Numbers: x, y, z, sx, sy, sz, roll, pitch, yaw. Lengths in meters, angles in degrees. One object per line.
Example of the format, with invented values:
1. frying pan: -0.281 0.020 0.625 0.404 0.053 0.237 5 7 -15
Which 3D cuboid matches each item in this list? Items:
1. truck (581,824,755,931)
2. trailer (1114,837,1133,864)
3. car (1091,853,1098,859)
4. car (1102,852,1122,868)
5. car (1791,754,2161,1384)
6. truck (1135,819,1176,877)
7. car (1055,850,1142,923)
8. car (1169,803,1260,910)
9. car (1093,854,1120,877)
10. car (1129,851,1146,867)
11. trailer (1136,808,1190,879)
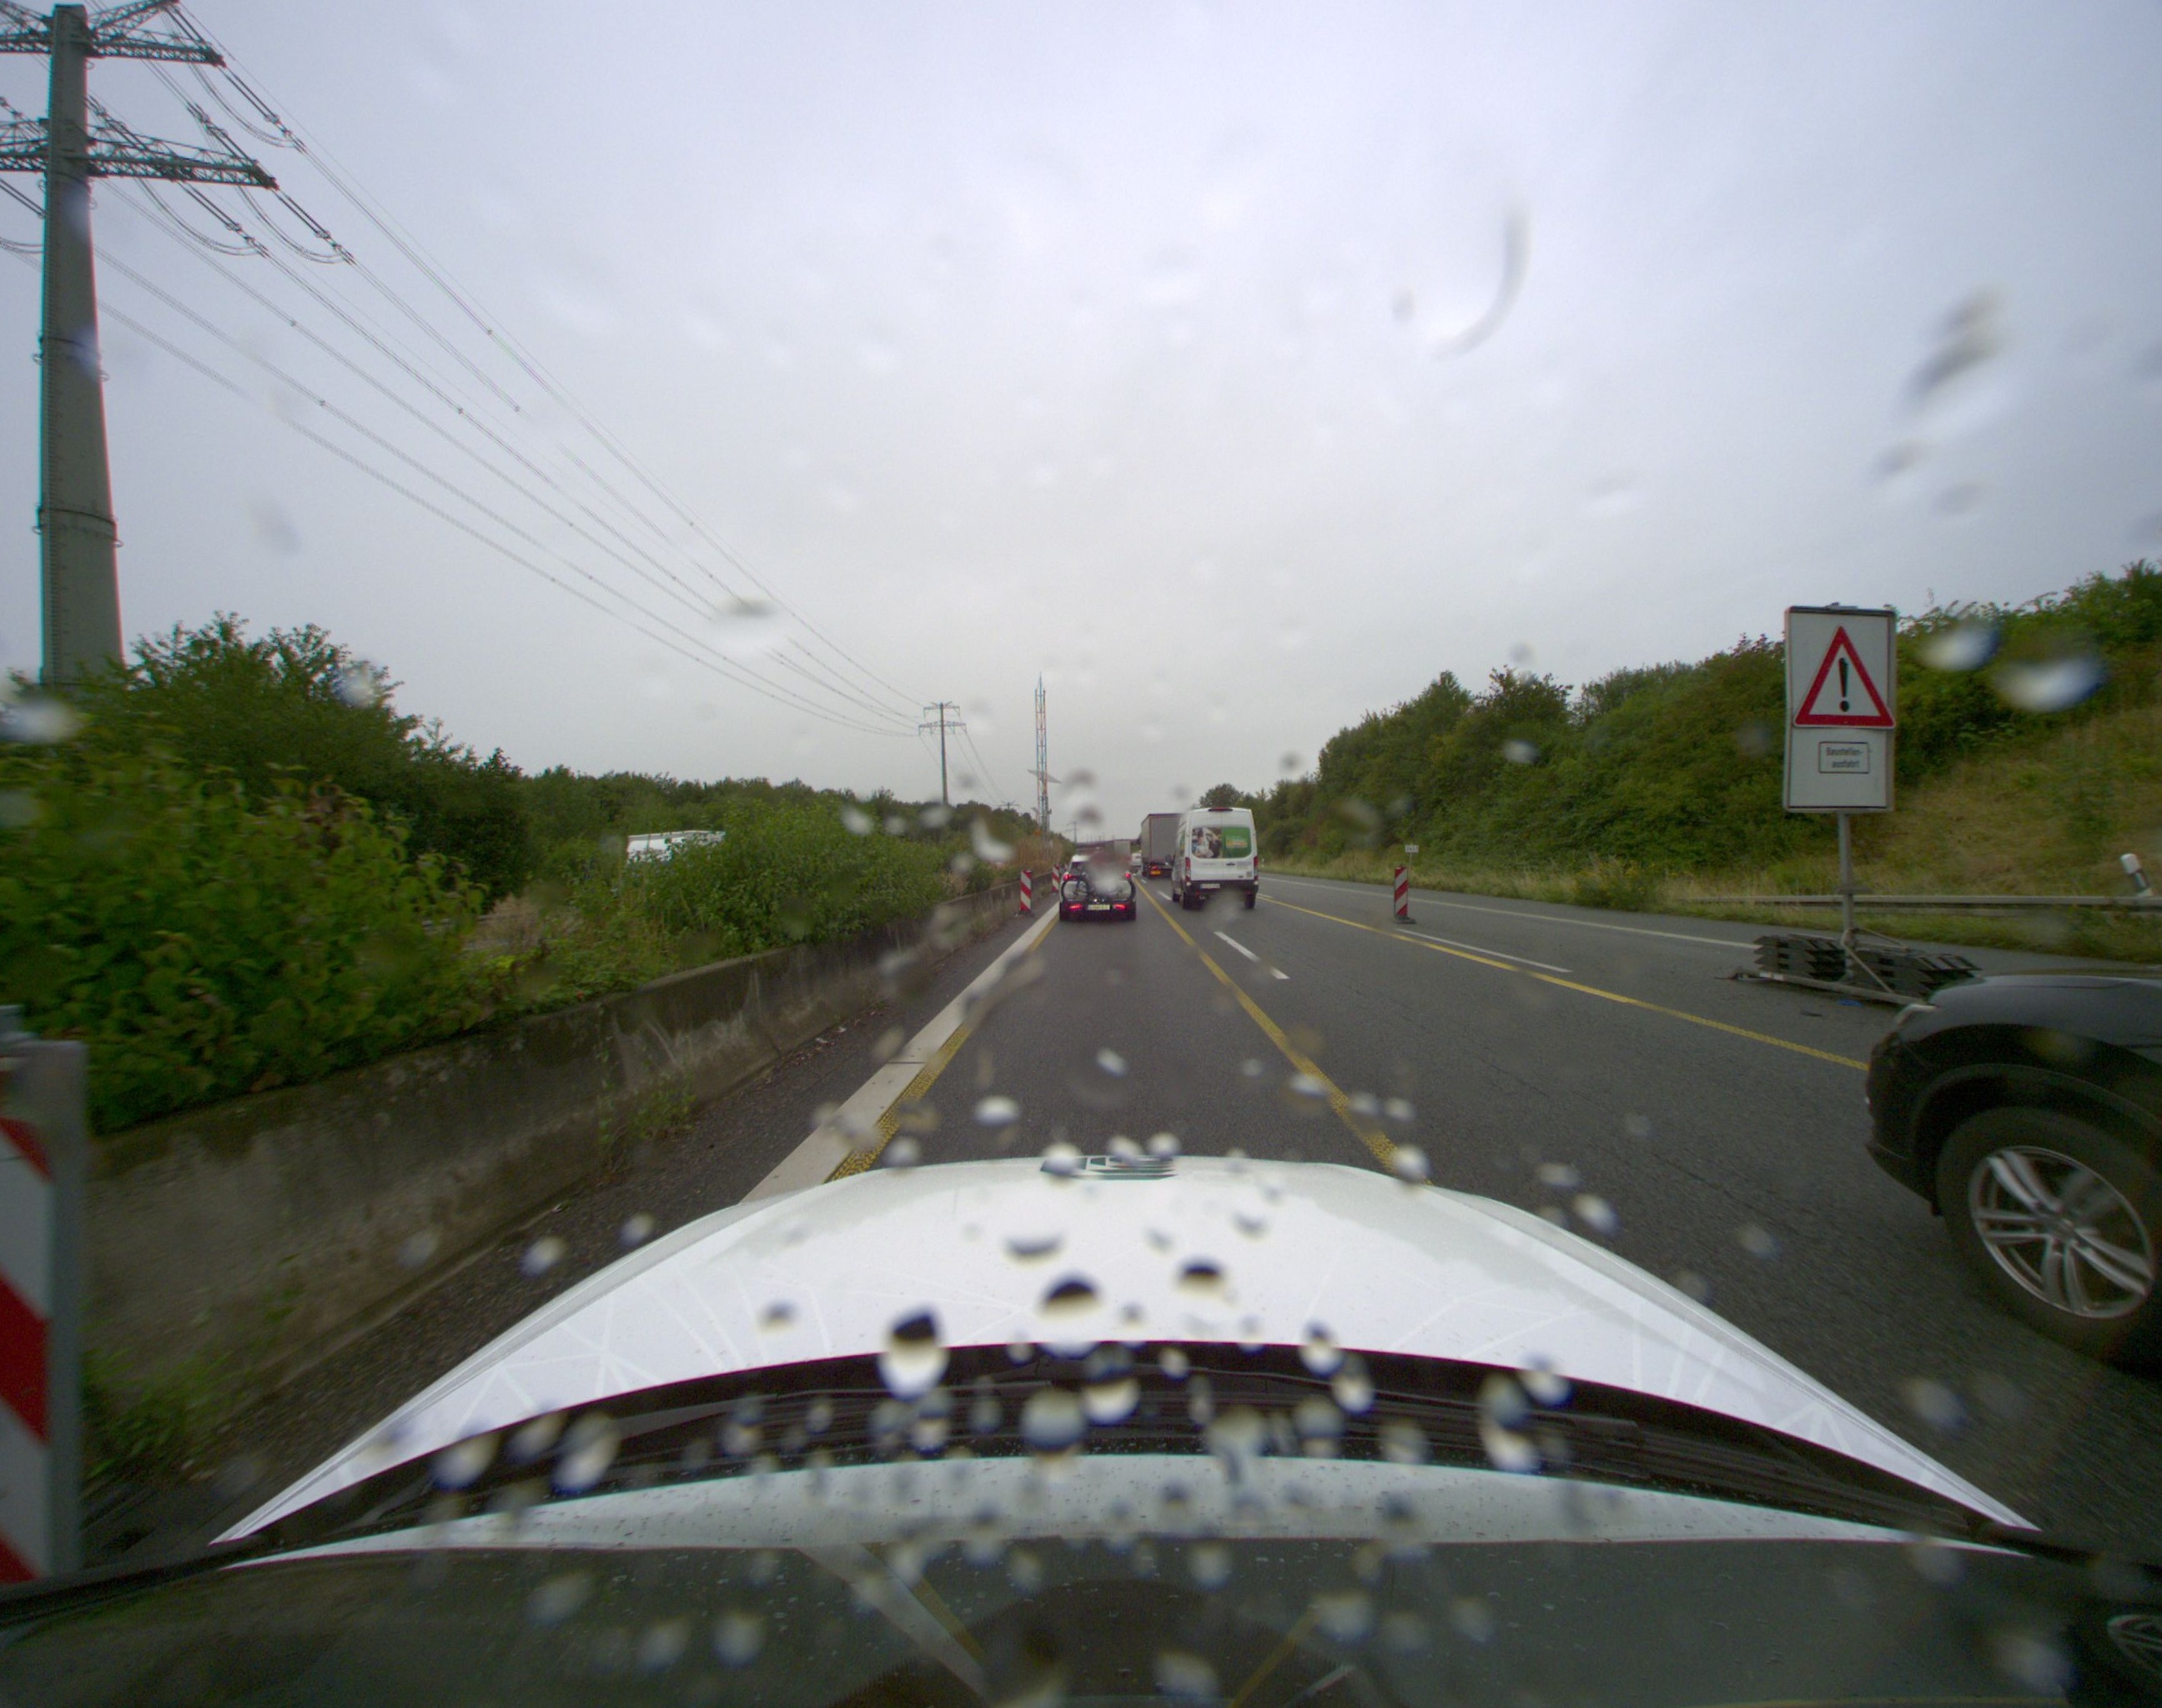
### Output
1. truck: -14.611 0.770 29.521 2.252 3.227 7.055 -5 -1 2
2. trailer: 6.798 -0.571 131.972 2.682 4.076 13.638 -1 0 2
3. car: 4.193 0.624 255.849 1.924 1.973 4.002 -1 1 1
4. car: 3.051 0.569 80.975 1.843 1.531 4.001 -1 0 2
5. car: 3.667 0.549 1.103 1.679 1.658 4.280 -1 0 0
6. truck: 5.563 -0.434 61.835 2.696 4.138 5.692 -1 0 2
7. car: 0.453 0.710 20.031 1.843 1.531 4.770 -1 0 2
8. car: 3.840 0.063 24.429 1.986 2.783 5.760 -2 0 2
9. car: 1.795 0.801 57.529 1.843 1.531 4.001 -1 0 2
10. car: 6.546 0.572 95.140 1.822 1.839 4.657 -1 0 2
11. trailer: 5.323 -0.603 55.089 2.696 4.146 13.738 -1 0 2
